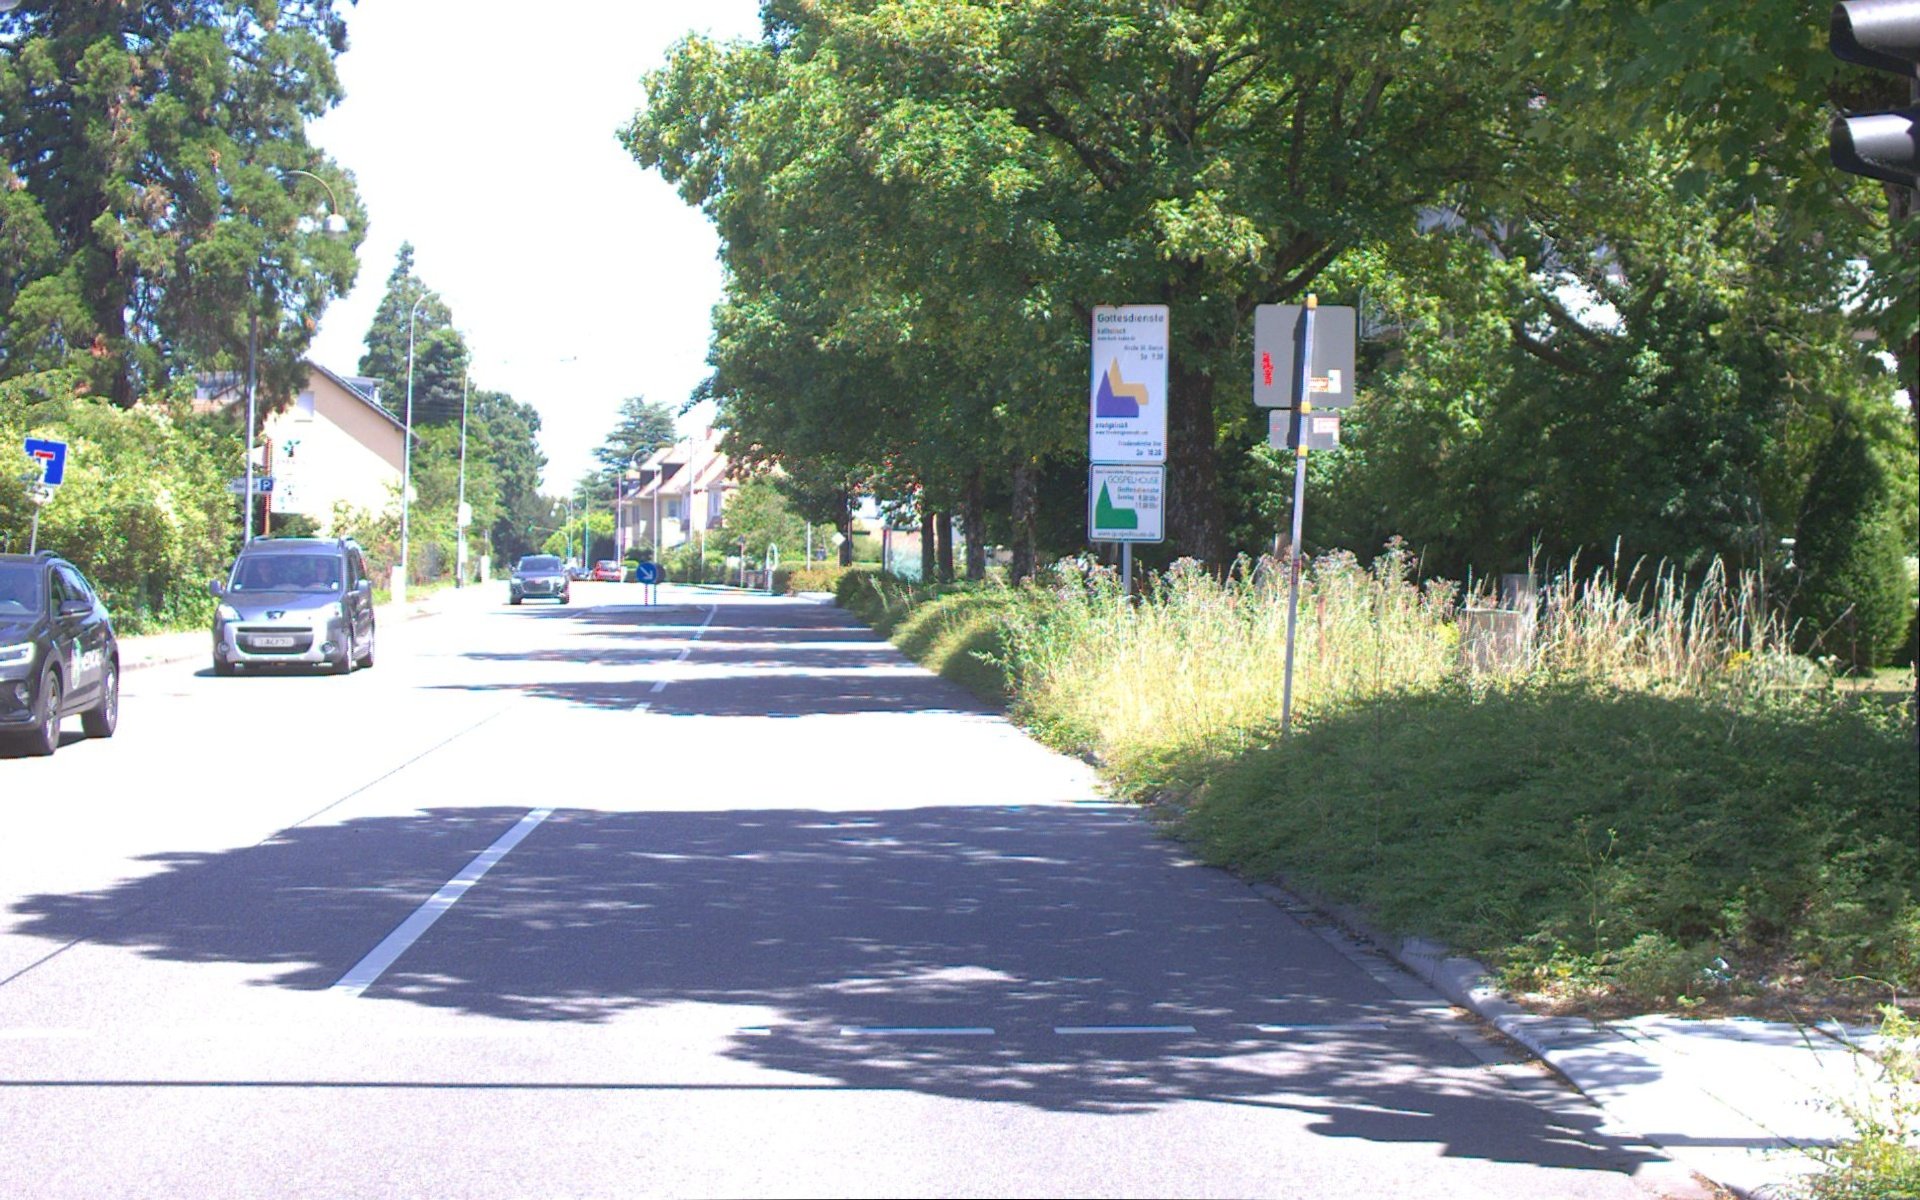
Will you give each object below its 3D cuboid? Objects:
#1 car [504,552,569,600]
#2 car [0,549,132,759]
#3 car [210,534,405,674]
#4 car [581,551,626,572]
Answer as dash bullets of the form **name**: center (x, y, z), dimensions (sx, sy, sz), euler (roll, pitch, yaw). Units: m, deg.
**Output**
- **car**: center (-13.729, -0.793, 111.637), dimensions (1.793, 1.531, 4.316), euler (0, 1, -3)
- **car**: center (-7.668, 0.358, 26.550), dimensions (1.869, 1.501, 4.053), euler (0, 1, -5)
- **car**: center (-8.649, 0.018, 45.915), dimensions (1.811, 1.756, 4.570), euler (1, 1, -1)
- **car**: center (-22.967, -2.512, 221.614), dimensions (1.943, 1.355, 4.465), euler (0, 1, -19)
